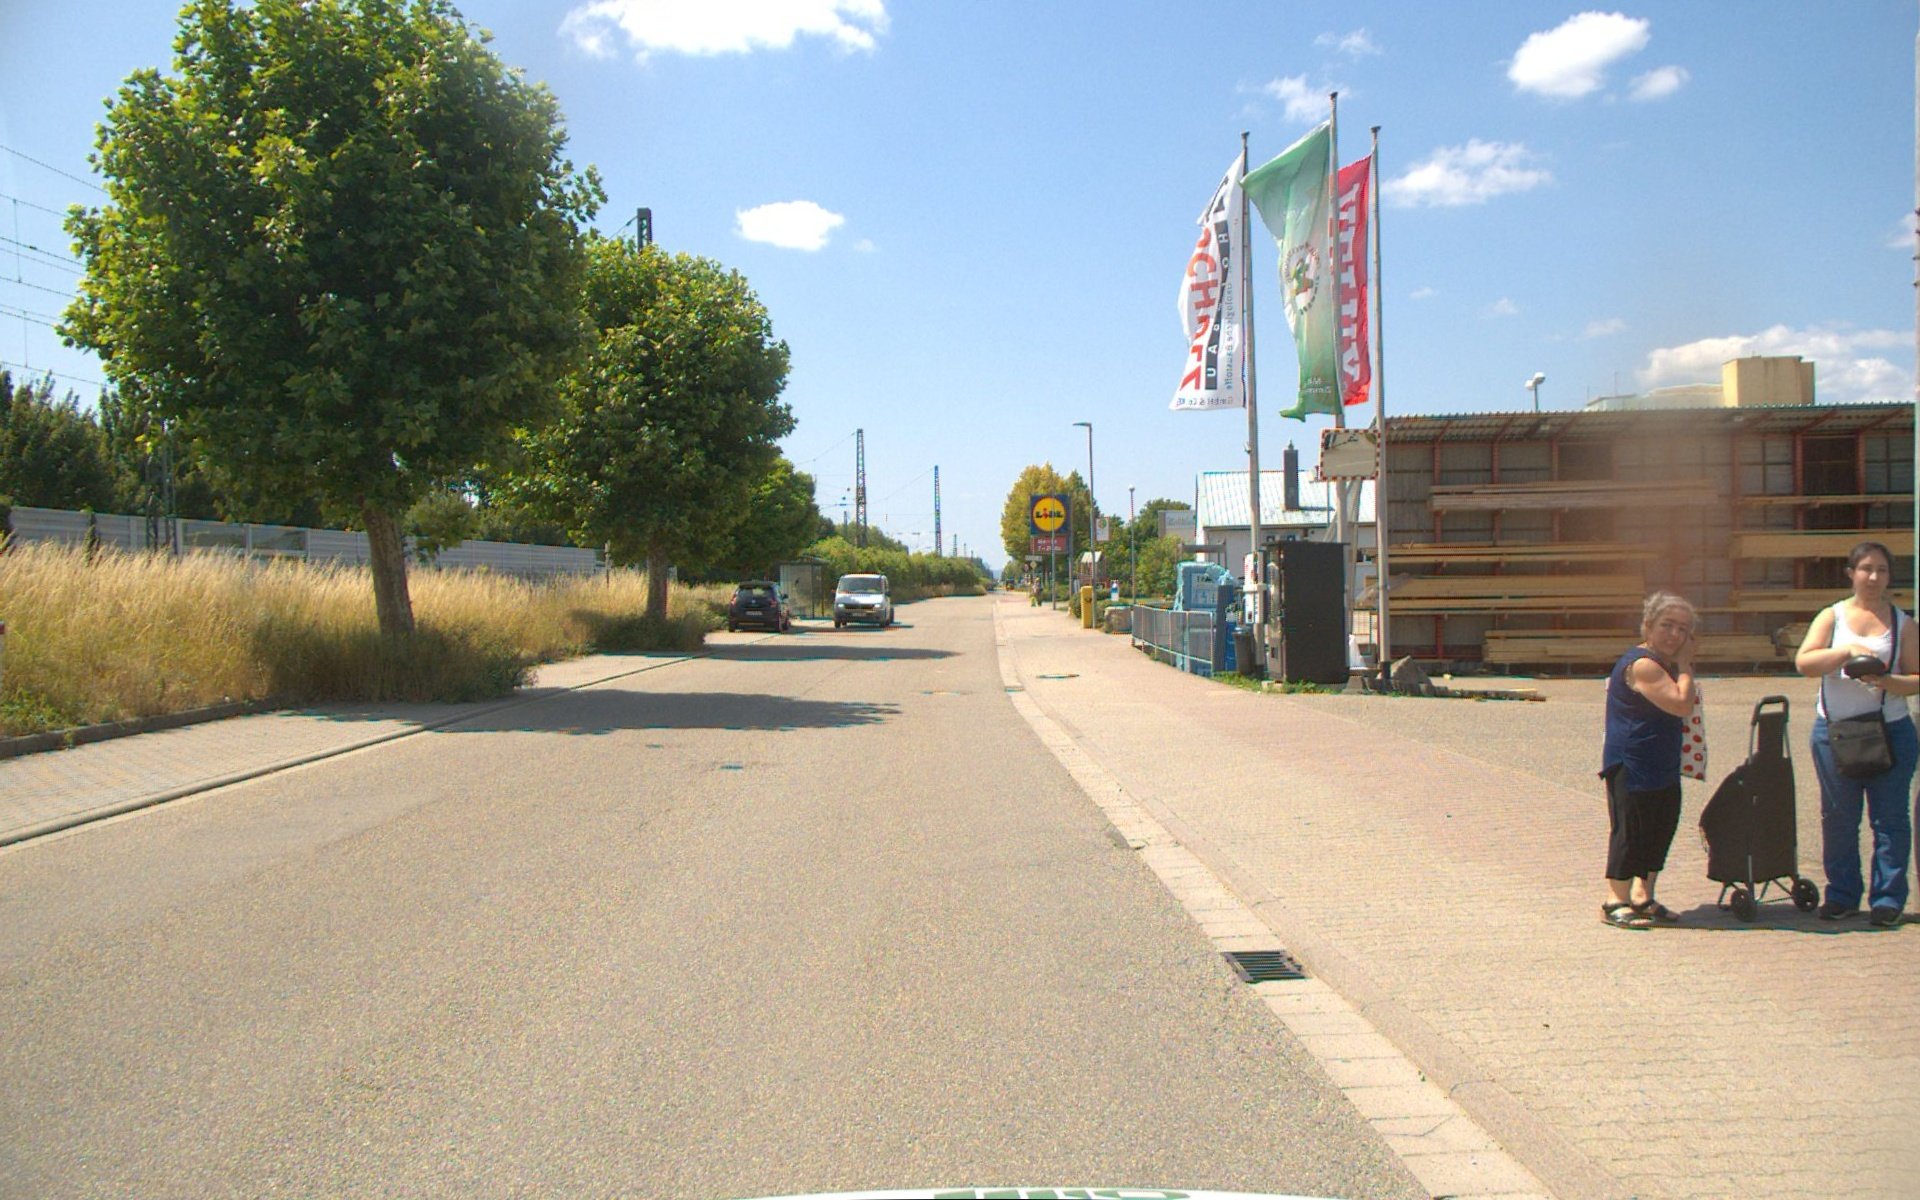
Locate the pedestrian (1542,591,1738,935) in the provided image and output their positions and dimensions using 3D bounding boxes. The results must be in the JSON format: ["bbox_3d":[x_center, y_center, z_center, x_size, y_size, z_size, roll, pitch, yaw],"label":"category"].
[{"bbox_3d":[2.973,0.692,7.272,0.554,1.430,0.583,-2,-2,-2],"label":"pedestrian"}]

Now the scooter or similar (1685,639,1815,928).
[{"bbox_3d":[3.468,0.789,7.278,0.327,1.219,0.397,-2,-2,-2],"label":"scooter or similar"}]

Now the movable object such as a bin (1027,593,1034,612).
[{"bbox_3d":[4.085,0.139,95.638,0.367,1.048,0.498,-2,0,-3],"label":"movable object such as a bin"}]

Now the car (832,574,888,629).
[{"bbox_3d":[-3.568,0.036,59.639,1.801,1.890,4.483,0,0,0],"label":"car"}]

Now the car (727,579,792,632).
[{"bbox_3d":[-6.367,0.150,52.732,1.706,1.624,3.578,0,1,-1],"label":"car"}]

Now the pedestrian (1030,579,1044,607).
[{"bbox_3d":[4.470,-0.424,96.094,0.746,1.629,1.210,-1,1,-2],"label":"pedestrian"}]

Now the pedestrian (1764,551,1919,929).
[{"bbox_3d":[3.924,0.589,7.198,0.524,1.567,0.510,-2,-2,-2],"label":"pedestrian"}]
